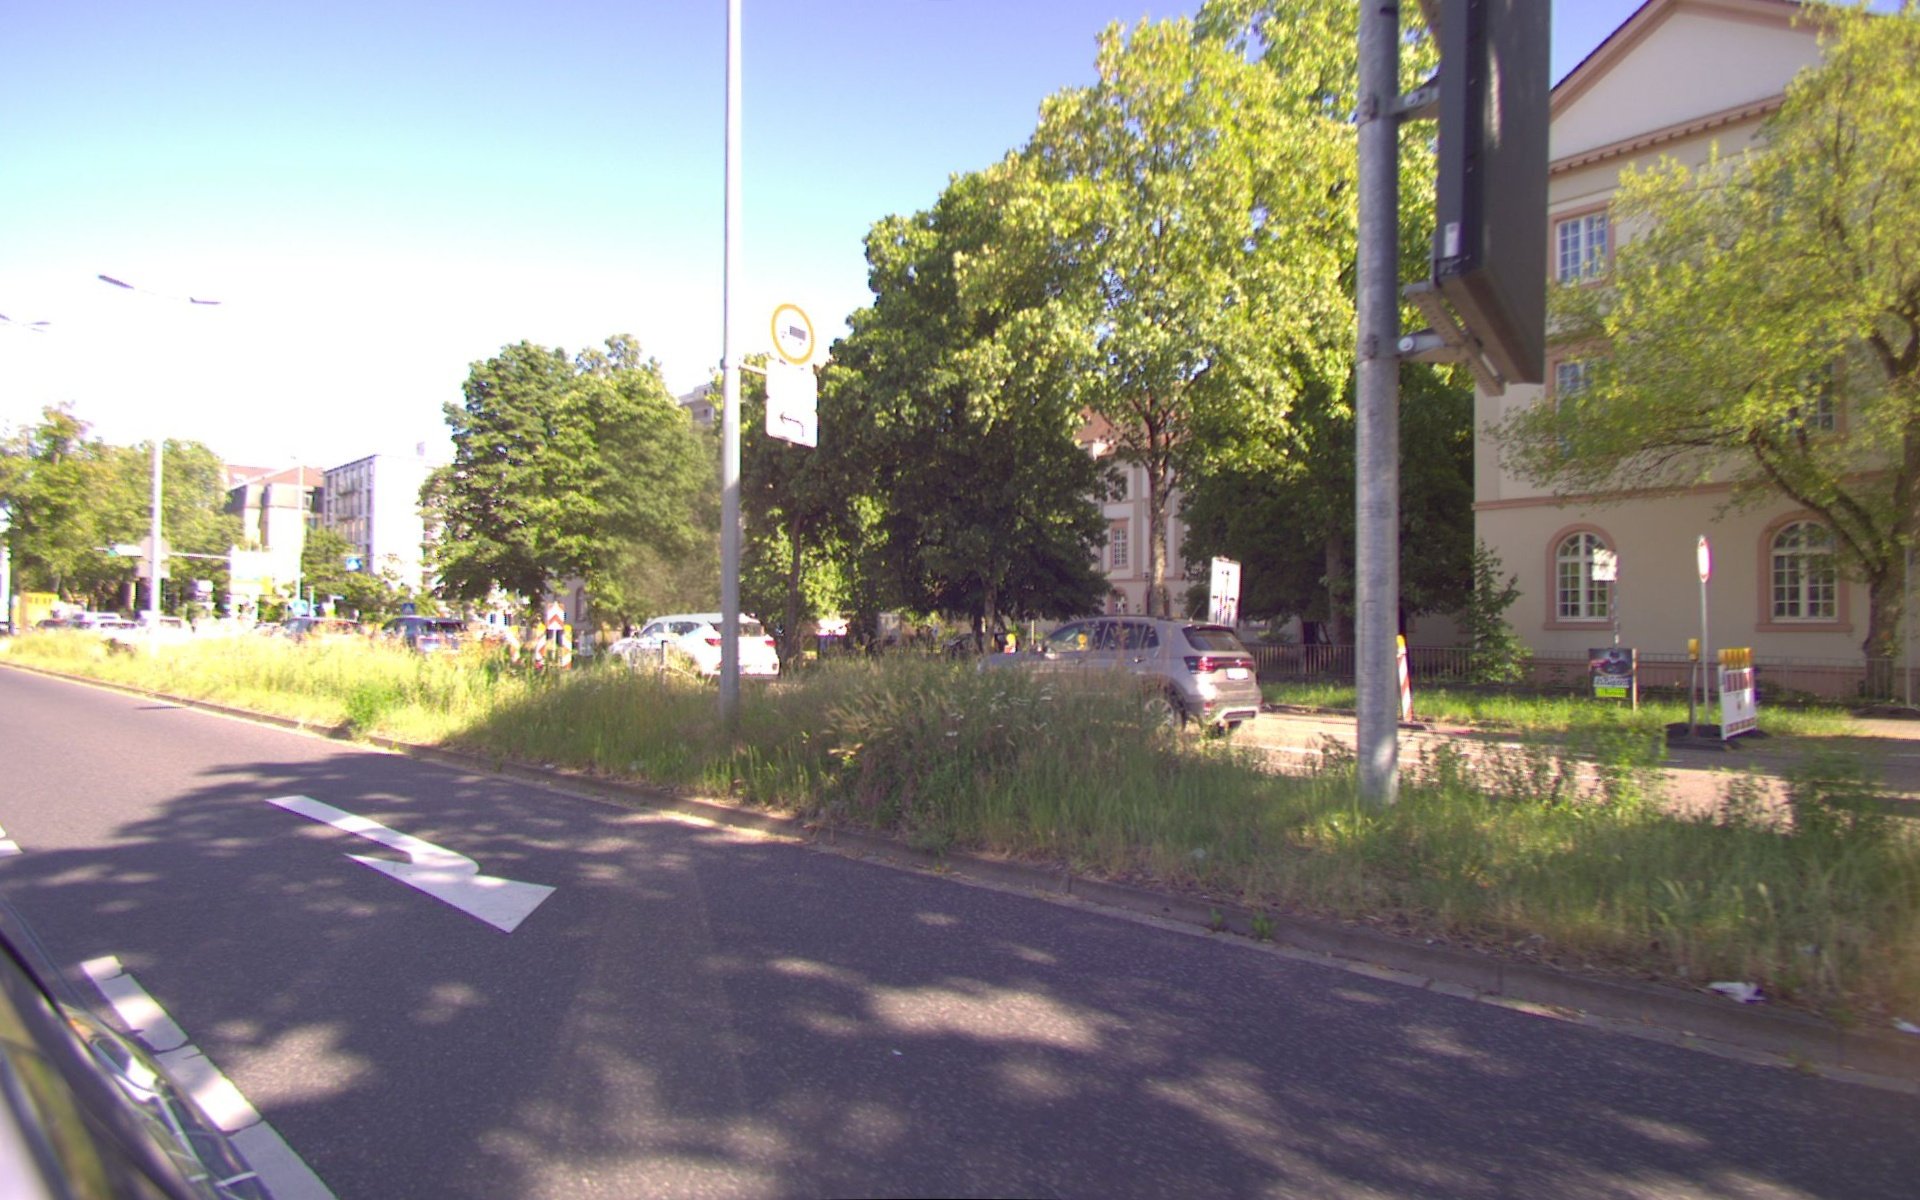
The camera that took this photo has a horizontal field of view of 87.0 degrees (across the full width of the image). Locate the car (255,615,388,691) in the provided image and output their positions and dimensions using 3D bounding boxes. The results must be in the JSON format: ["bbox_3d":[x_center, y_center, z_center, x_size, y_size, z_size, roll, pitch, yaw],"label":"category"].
[{"bbox_3d":[-16.531,1.290,26.119,4.322,1.630,1.735,2,1,41],"label":"car"}]

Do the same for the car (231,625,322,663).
[{"bbox_3d":[-25.897,1.638,38.283,4.255,1.362,1.777,-1,-2,40],"label":"car"}]

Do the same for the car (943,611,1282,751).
[{"bbox_3d":[1.941,0.950,13.681,4.257,1.530,1.777,1,0,42],"label":"car"}]

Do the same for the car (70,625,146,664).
[{"bbox_3d":[-35.735,1.836,42.421,4.202,1.530,1.777,-1,-2,40],"label":"car"}]

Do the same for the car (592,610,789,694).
[{"bbox_3d":[-5.532,1.003,20.557,4.255,1.530,1.777,-1,-2,40],"label":"car"}]

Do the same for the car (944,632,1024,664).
[{"bbox_3d":[1.348,2.735,58.502,4.684,1.503,1.625,3,1,41],"label":"car"}]

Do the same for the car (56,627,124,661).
[{"bbox_3d":[-40.730,2.034,47.349,4.360,1.530,1.777,-2,-1,40],"label":"car"}]

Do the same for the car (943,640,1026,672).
[{"bbox_3d":[1.030,2.389,43.767,1.743,1.333,3.507,2,-3,-39],"label":"car"}]

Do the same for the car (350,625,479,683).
[{"bbox_3d":[-15.789,1.495,29.218,4.441,1.530,1.777,-1,-2,40],"label":"car"}]

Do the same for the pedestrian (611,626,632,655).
[{"bbox_3d":[-17.905,2.136,53.559,0.780,1.547,0.733,-1,-3,36],"label":"pedestrian"}]

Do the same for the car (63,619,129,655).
[{"bbox_3d":[-51.205,2.162,59.941,5.014,2.043,2.210,-1,-2,41],"label":"car"}]

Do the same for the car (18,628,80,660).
[{"bbox_3d":[-46.341,2.205,51.448,4.344,1.530,1.777,-1,-1,41],"label":"car"}]

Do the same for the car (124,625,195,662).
[{"bbox_3d":[-39.771,2.127,50.238,5.028,1.756,1.777,-1,-2,40],"label":"car"}]
